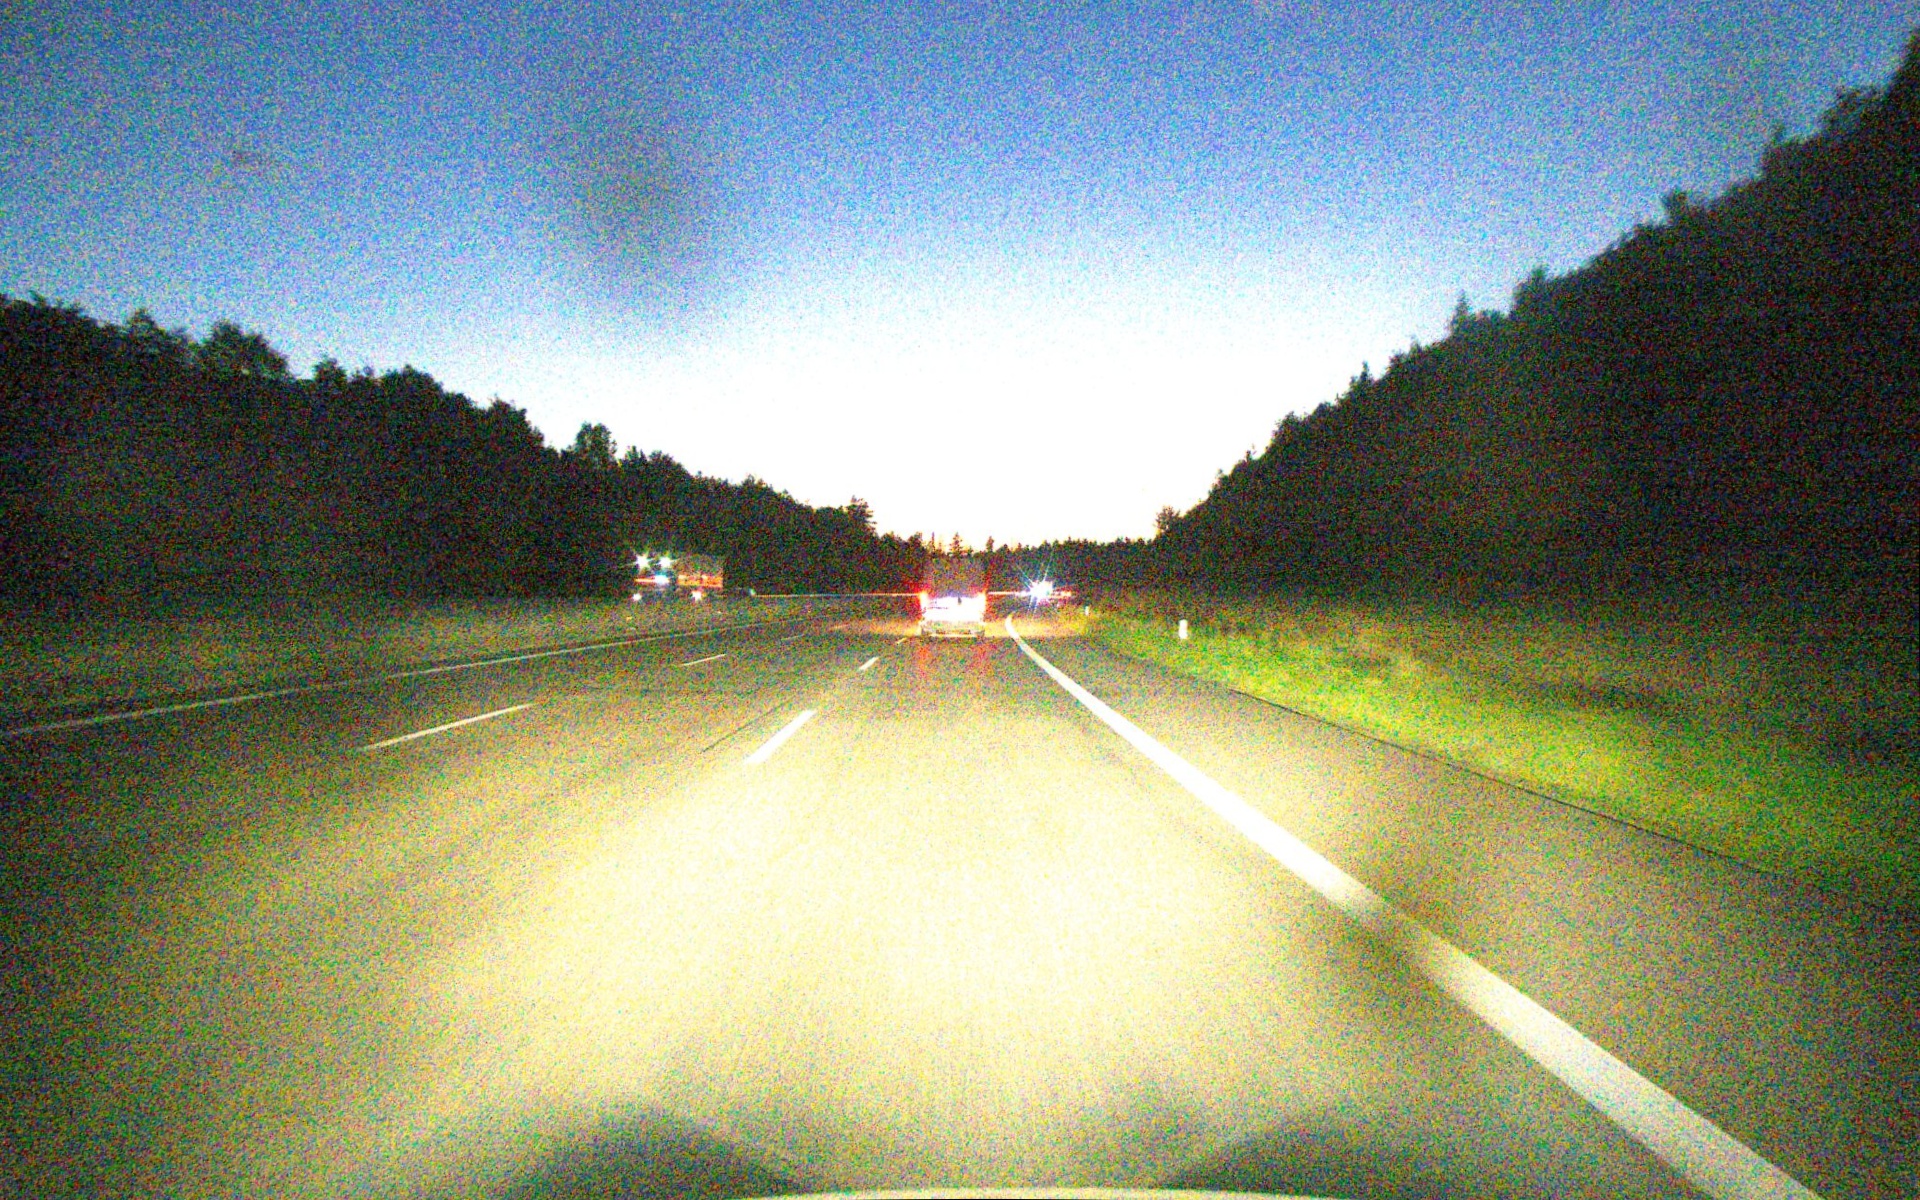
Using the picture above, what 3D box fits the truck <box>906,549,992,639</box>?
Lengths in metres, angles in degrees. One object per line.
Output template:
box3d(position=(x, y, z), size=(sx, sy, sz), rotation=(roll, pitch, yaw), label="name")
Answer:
box3d(position=(-0.283, -0.161, 54.239), size=(2.576, 2.670, 8.685), rotation=(1, 0, 1), label="truck")

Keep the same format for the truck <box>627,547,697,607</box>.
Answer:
box3d(position=(-20.707, -1.538, 115.469), size=(3.429, 4.039, 6.700), rotation=(1, 0, 2), label="truck")

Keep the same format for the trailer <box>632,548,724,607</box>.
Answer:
box3d(position=(-20.592, -1.503, 122.159), size=(3.469, 4.070, 17.285), rotation=(1, 0, 1), label="trailer")
